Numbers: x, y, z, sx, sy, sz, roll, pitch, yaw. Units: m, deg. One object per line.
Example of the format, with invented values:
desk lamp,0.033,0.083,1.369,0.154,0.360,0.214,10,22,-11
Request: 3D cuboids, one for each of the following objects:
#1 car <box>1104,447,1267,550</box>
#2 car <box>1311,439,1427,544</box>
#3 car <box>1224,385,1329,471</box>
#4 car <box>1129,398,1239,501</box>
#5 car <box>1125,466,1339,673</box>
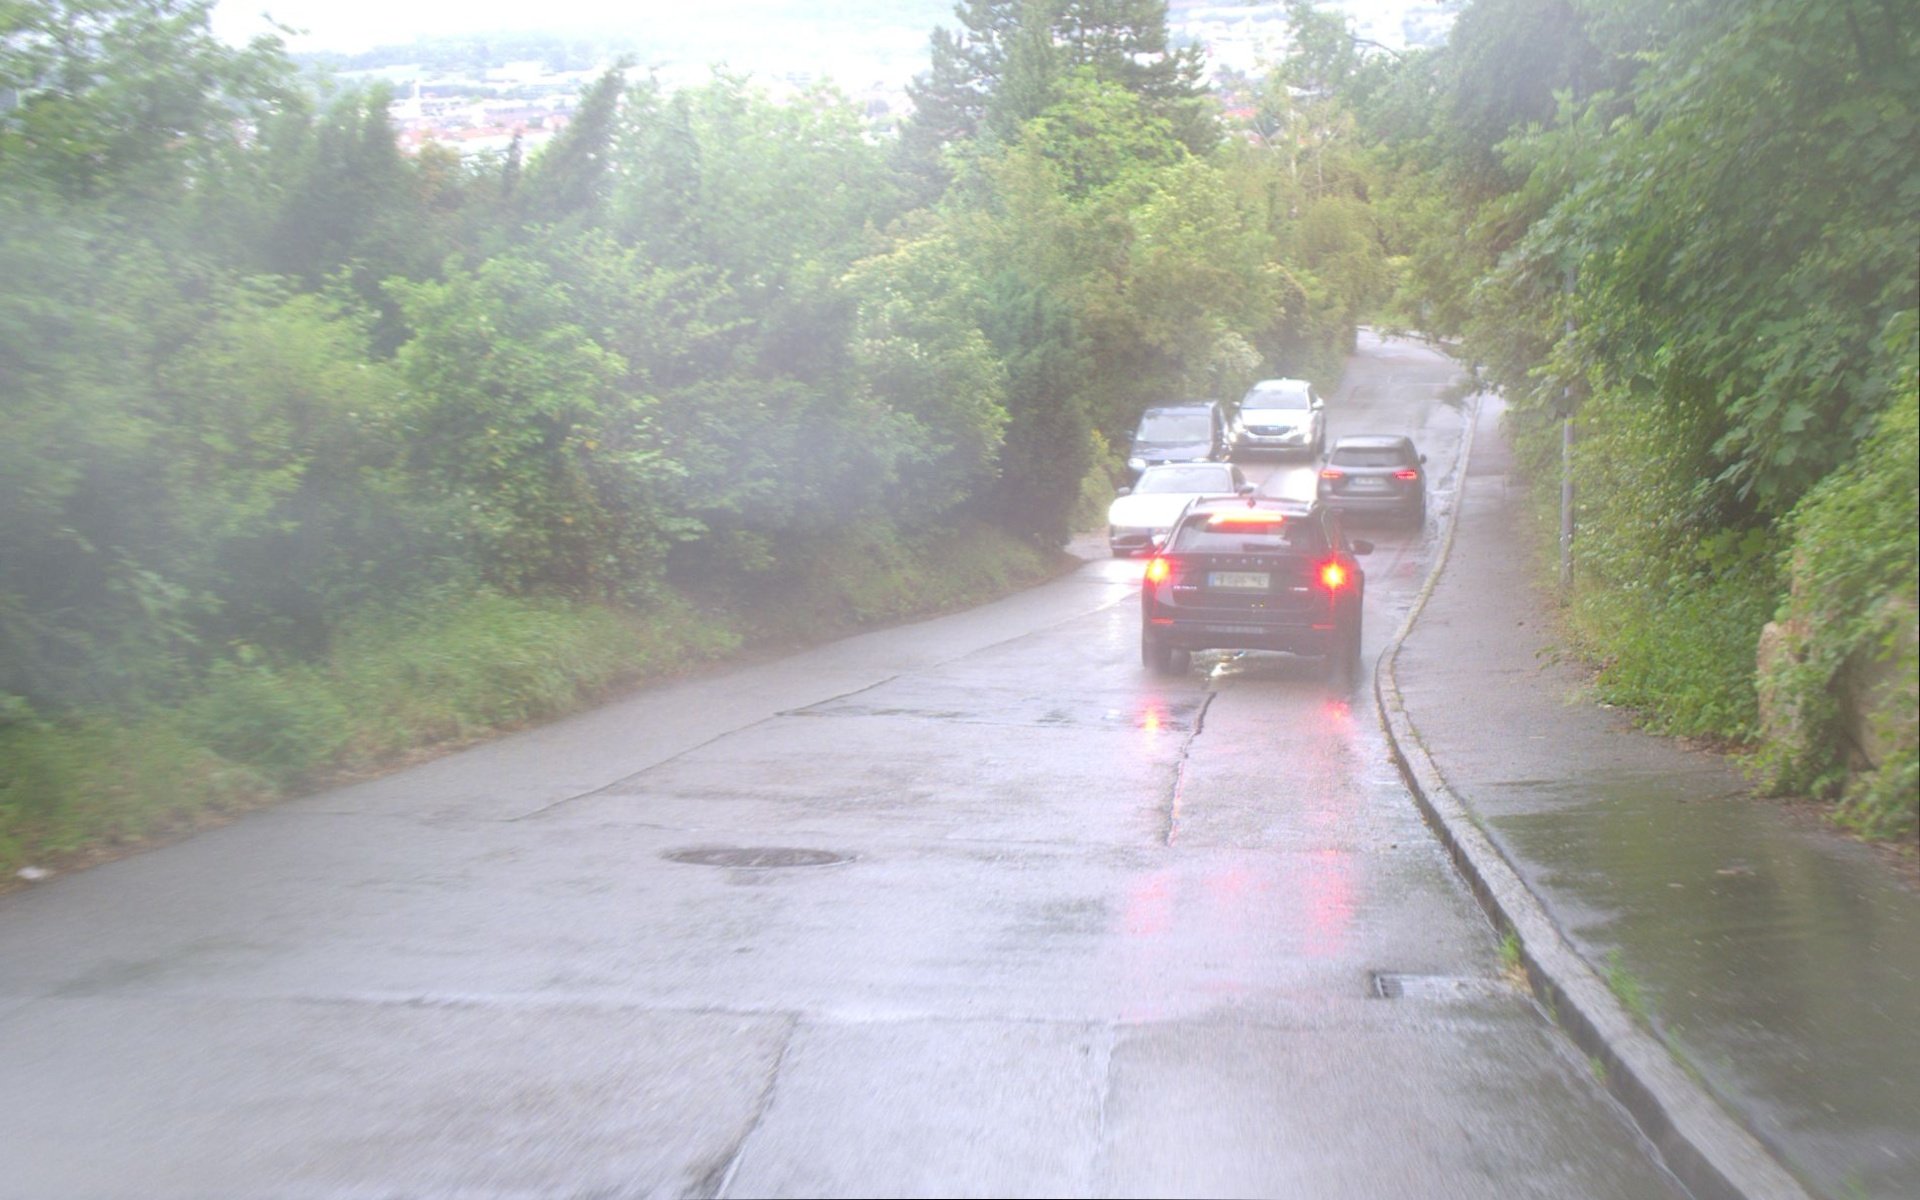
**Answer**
car,3.565,-1.558,53.667,1.942,1.517,4.577,1,1,11
car,7.144,-1.859,59.764,1.863,1.737,3.999,1,1,8
car,7.131,-3.890,77.160,2.049,1.595,4.229,2,7,8
car,4.430,-2.982,67.485,1.690,1.776,4.232,0,5,10
car,2.375,-0.314,29.402,1.700,1.445,4.000,0,5,6
